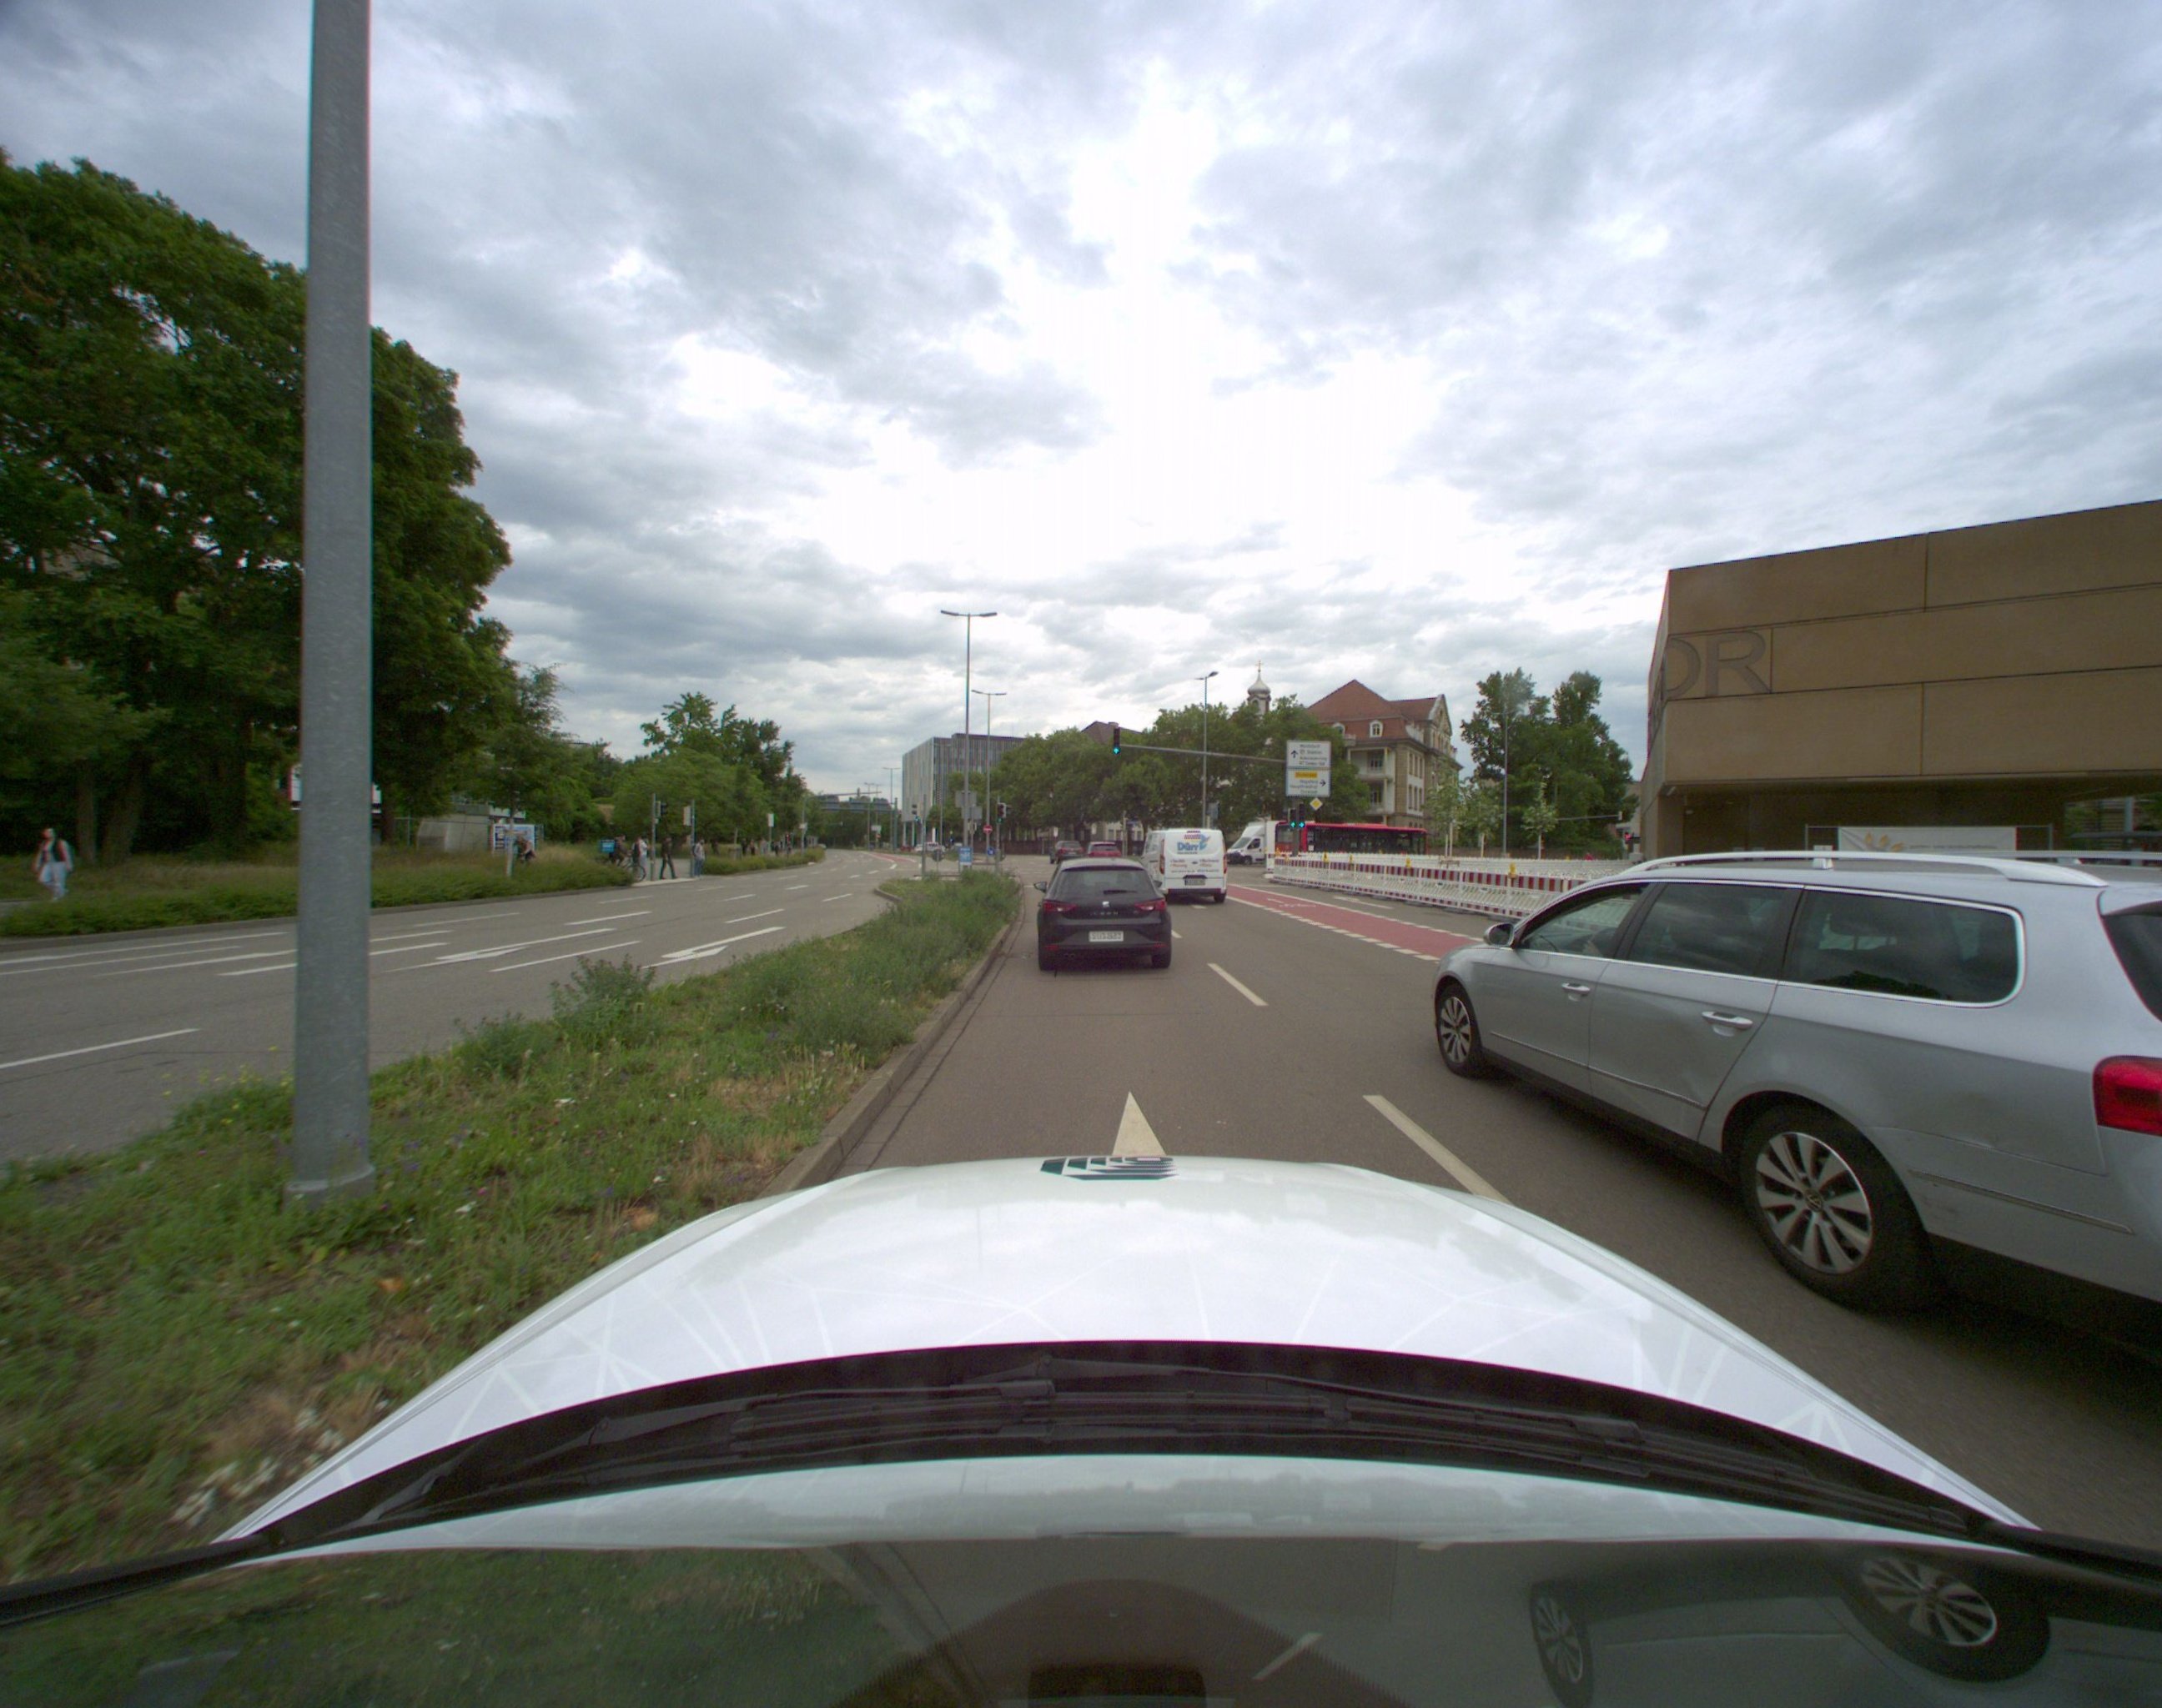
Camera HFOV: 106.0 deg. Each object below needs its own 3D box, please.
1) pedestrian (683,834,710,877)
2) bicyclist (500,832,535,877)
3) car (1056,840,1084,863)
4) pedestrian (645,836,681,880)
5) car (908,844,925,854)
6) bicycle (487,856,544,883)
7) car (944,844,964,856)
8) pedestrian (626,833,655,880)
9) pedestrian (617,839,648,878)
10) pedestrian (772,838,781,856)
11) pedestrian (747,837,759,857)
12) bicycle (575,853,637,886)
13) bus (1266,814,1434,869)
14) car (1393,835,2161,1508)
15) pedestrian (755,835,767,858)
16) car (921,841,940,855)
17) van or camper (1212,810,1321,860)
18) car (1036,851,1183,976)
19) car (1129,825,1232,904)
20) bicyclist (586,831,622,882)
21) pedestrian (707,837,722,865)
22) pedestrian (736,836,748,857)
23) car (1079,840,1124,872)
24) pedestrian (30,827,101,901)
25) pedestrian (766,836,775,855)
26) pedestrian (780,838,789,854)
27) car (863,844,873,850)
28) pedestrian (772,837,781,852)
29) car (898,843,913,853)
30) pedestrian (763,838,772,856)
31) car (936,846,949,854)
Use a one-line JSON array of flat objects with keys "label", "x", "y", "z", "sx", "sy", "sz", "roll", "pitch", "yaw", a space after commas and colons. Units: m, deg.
[{"label": "pedestrian", "x": -16.870, "y": 0.068, "z": 35.751, "sx": 0.890, "sy": 1.842, "sz": 0.667, "roll": 0, "pitch": 0, "yaw": 0}, {"label": "bicyclist", "x": -20.001, "y": 0.013, "z": 28.913, "sx": 0.713, "sy": 1.570, "sz": 0.712, "roll": 0, "pitch": 0, "yaw": -1}, {"label": "car", "x": -0.816, "y": -0.188, "z": 58.513, "sx": 1.988, "sy": 1.566, "sz": 4.202, "roll": 0, "pitch": 1, "yaw": -2}, {"label": "pedestrian", "x": -17.381, "y": 0.159, "z": 33.885, "sx": 1.045, "sy": 1.842, "sz": 0.866, "roll": 0, "pitch": 1, "yaw": 0}, {"label": "car", "x": -26.411, "y": -0.842, "z": 130.722, "sx": 2.001, "sy": 1.640, "sz": 3.972, "roll": 1, "pitch": 0, "yaw": -21}, {"label": "bicycle", "x": -20.013, "y": 0.537, "z": 28.872, "sx": 0.713, "sy": 0.882, "sz": 1.883, "roll": 1, "pitch": 1, "yaw": 0}, {"label": "car", "x": -18.338, "y": -0.653, "z": 117.420, "sx": 1.925, "sy": 1.684, "sz": 3.970, "roll": 1, "pitch": 0, "yaw": -23}, {"label": "pedestrian", "x": -17.607, "y": 0.102, "z": 32.555, "sx": 0.754, "sy": 1.842, "sz": 0.766, "roll": 1, "pitch": 0, "yaw": 0}, {"label": "pedestrian", "x": -19.234, "y": 0.167, "z": 34.934, "sx": 0.839, "sy": 1.649, "sz": 0.806, "roll": 0, "pitch": 1, "yaw": 0}, {"label": "pedestrian", "x": -30.616, "y": -0.691, "z": 81.790, "sx": 0.714, "sy": 1.870, "sz": 0.754, "roll": 0, "pitch": 0, "yaw": -12}, {"label": "pedestrian", "x": -27.706, "y": -0.590, "z": 68.843, "sx": 0.755, "sy": 1.712, "sz": 1.044, "roll": 0, "pitch": 0, "yaw": -9}, {"label": "bicycle", "x": -17.690, "y": 0.572, "z": 30.374, "sx": 0.782, "sy": 1.159, "sz": 1.916, "roll": 0, "pitch": 1, "yaw": 21}, {"label": "bus", "x": 17.715, "y": -0.758, "z": 53.102, "sx": 12.418, "sy": 3.297, "sz": 3.038, "roll": 0, "pitch": 1, "yaw": -31}, {"label": "car", "x": 3.271, "y": 0.666, "z": 4.034, "sx": 1.714, "sy": 1.482, "sz": 4.629, "roll": -1, "pitch": 1, "yaw": 0}, {"label": "pedestrian", "x": -28.335, "y": -0.652, "z": 72.084, "sx": 0.755, "sy": 2.013, "sz": 1.044, "roll": 0, "pitch": 0, "yaw": -9}, {"label": "car", "x": -22.207, "y": -0.893, "z": 120.234, "sx": 2.002, "sy": 2.013, "sz": 3.970, "roll": 1, "pitch": 0, "yaw": -23}, {"label": "van or camper", "x": 13.117, "y": -1.291, "z": 57.641, "sx": 7.156, "sy": 3.332, "sz": 2.856, "roll": 0, "pitch": -1, "yaw": -22}, {"label": "car", "x": 0.243, "y": 0.711, "z": 11.881, "sx": 1.742, "sy": 1.464, "sz": 3.995, "roll": -1, "pitch": 0, "yaw": -4}, {"label": "car", "x": 2.702, "y": 0.225, "z": 23.287, "sx": 1.990, "sy": 2.019, "sz": 5.024, "roll": 0, "pitch": 1, "yaw": -4}, {"label": "bicyclist", "x": -17.727, "y": 0.088, "z": 30.280, "sx": 0.783, "sy": 1.844, "sz": 0.838, "roll": 0, "pitch": 1, "yaw": 21}, {"label": "pedestrian", "x": -27.318, "y": -0.237, "z": 60.728, "sx": 0.755, "sy": 2.013, "sz": 1.044, "roll": 0, "pitch": 0, "yaw": -9}, {"label": "pedestrian", "x": -28.433, "y": -0.662, "z": 68.263, "sx": 0.755, "sy": 1.765, "sz": 0.903, "roll": 0, "pitch": 0, "yaw": -9}, {"label": "car", "x": 1.013, "y": 0.087, "z": 42.920, "sx": 1.856, "sy": 1.600, "sz": 4.196, "roll": 0, "pitch": 1, "yaw": -6}, {"label": "pedestrian", "x": -21.650, "y": 0.200, "z": 17.370, "sx": 0.559, "sy": 1.541, "sz": 0.755, "roll": 0, "pitch": 0, "yaw": 0}, {"label": "pedestrian", "x": -32.852, "y": -0.902, "z": 86.187, "sx": 0.755, "sy": 2.013, "sz": 1.043, "roll": 0, "pitch": 0, "yaw": -12}, {"label": "pedestrian", "x": -34.877, "y": -0.949, "z": 95.859, "sx": 0.920, "sy": 1.779, "sz": 1.058, "roll": 0, "pitch": 1, "yaw": -17}, {"label": "car", "x": -45.498, "y": -1.433, "z": 174.076, "sx": 1.717, "sy": 1.265, "sz": 3.317, "roll": 0, "pitch": 1, "yaw": -20}, {"label": "pedestrian", "x": -35.771, "y": -1.152, "z": 95.561, "sx": 0.920, "sy": 1.779, "sz": 1.058, "roll": 0, "pitch": 1, "yaw": -17}, {"label": "car", "x": -32.591, "y": -1.112, "z": 151.178, "sx": 2.001, "sy": 1.681, "sz": 3.983, "roll": 1, "pitch": 0, "yaw": -20}, {"label": "pedestrian", "x": -31.361, "y": -0.710, "z": 81.522, "sx": 0.714, "sy": 1.870, "sz": 0.754, "roll": 0, "pitch": 0, "yaw": -12}, {"label": "car", "x": -22.194, "y": -0.650, "z": 130.577, "sx": 1.531, "sy": 1.365, "sz": 2.948, "roll": 1, "pitch": 0, "yaw": -22}]
